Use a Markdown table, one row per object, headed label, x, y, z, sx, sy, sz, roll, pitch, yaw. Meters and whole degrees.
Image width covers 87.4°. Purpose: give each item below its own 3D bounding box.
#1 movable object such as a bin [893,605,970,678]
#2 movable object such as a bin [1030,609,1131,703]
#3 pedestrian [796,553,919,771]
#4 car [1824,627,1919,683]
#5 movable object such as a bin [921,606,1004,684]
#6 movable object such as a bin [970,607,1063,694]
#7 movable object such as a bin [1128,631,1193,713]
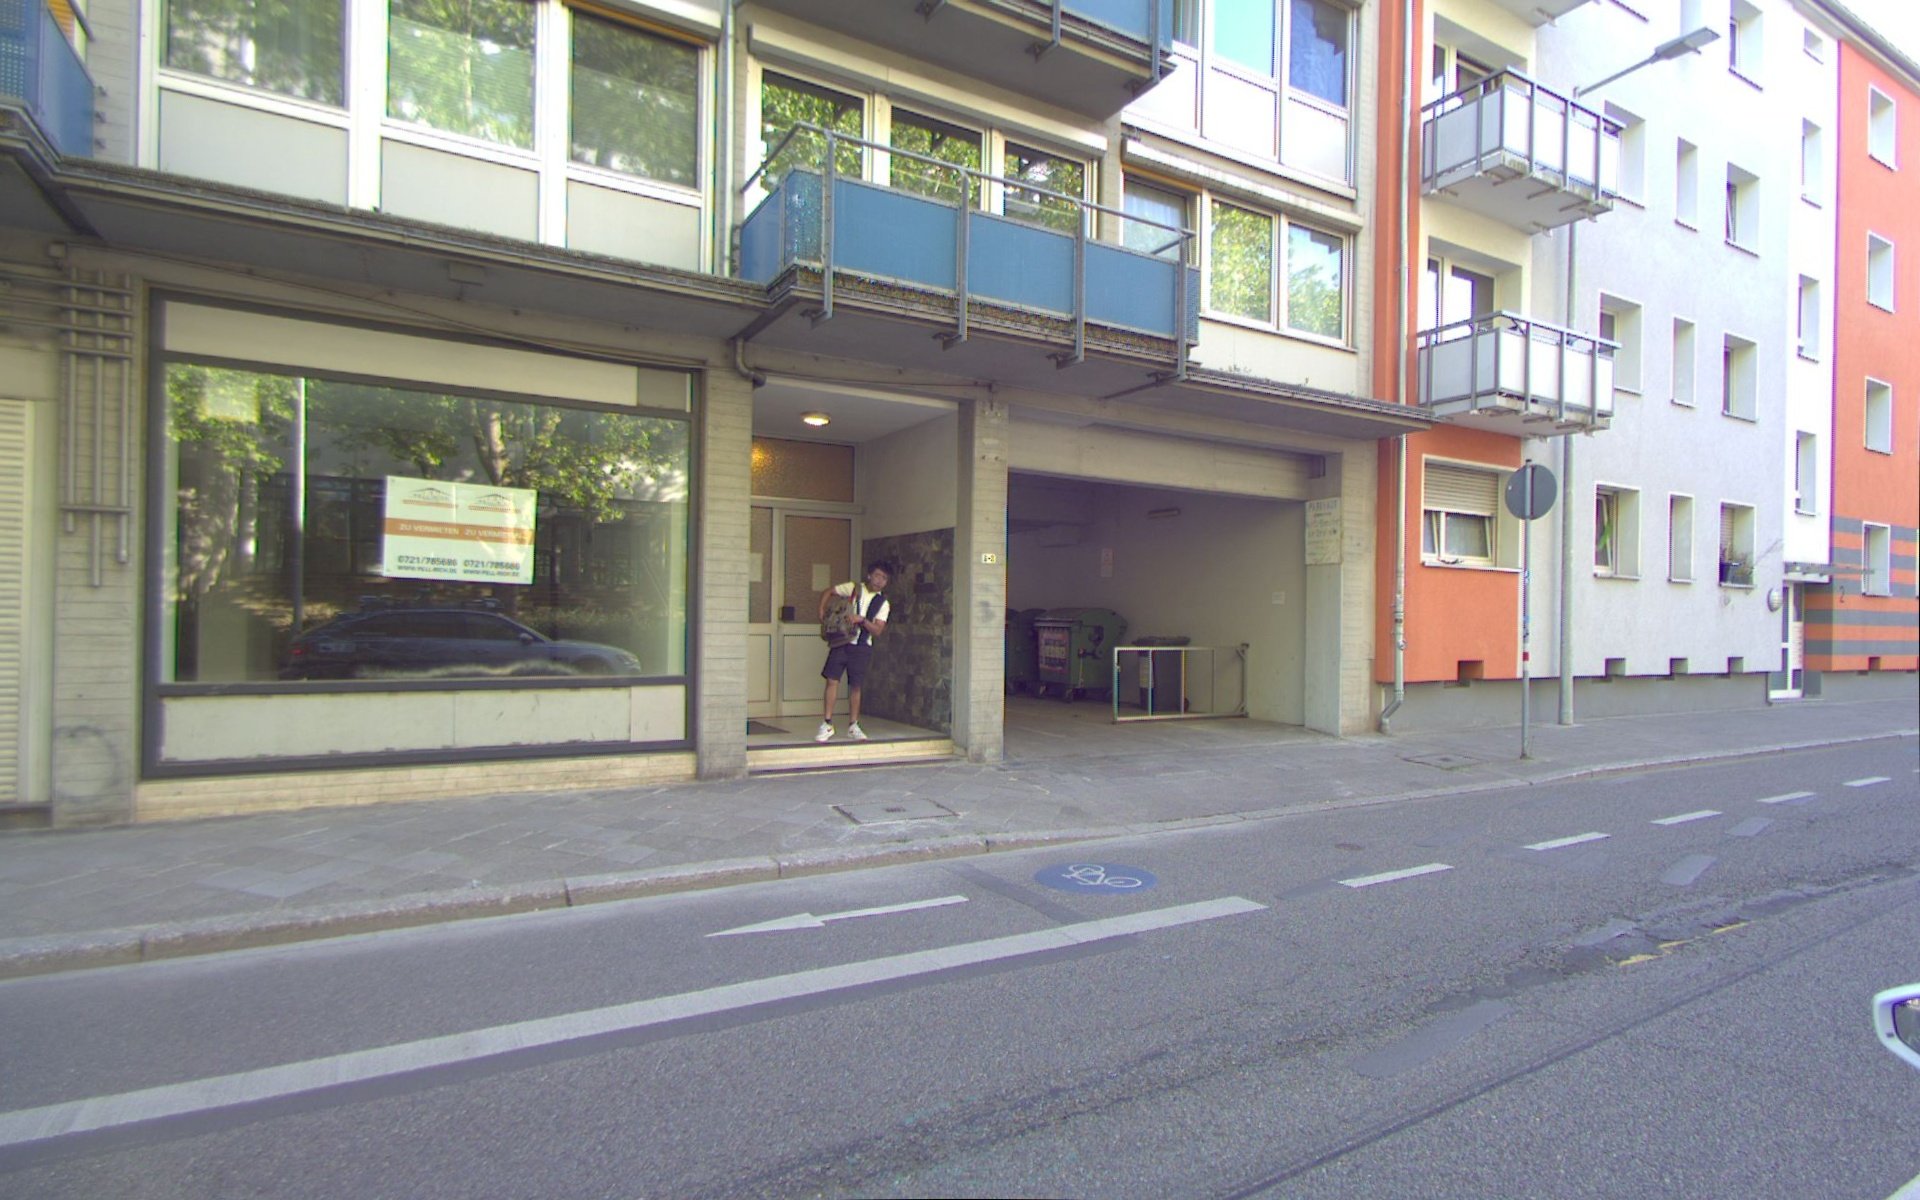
| label | x | y | z | sx | sy | sz | roll | pitch | yaw |
| --- | --- | --- | --- | --- | --- | --- | --- | --- | --- |
| movable object such as a bin | -0.575 | 0.807 | 19.864 | 1.066 | 1.384 | 1.255 | 2 | 0 | -27 |
| movable object such as a bin | 1.886 | 0.863 | 15.811 | 1.066 | 1.384 | 1.192 | 2 | 0 | -27 |
| pedestrian | -0.951 | 0.549 | 9.254 | 0.882 | 1.902 | 0.703 | 2 | 0 | -28 |
| car | 29.479 | 1.709 | 30.719 | 1.838 | 1.591 | 4.340 | 2 | 0 | -36 |
| movable object such as a bin | 0.034 | 0.820 | 18.695 | 1.066 | 1.384 | 1.255 | 2 | 0 | -27 |
| movable object such as a bin | 0.945 | 0.840 | 17.126 | 1.066 | 1.384 | 1.255 | 2 | 0 | -27 |
| movable object such as a bin | 2.887 | 1.023 | 14.461 | 0.650 | 1.115 | 0.626 | 2 | 0 | -27 |
